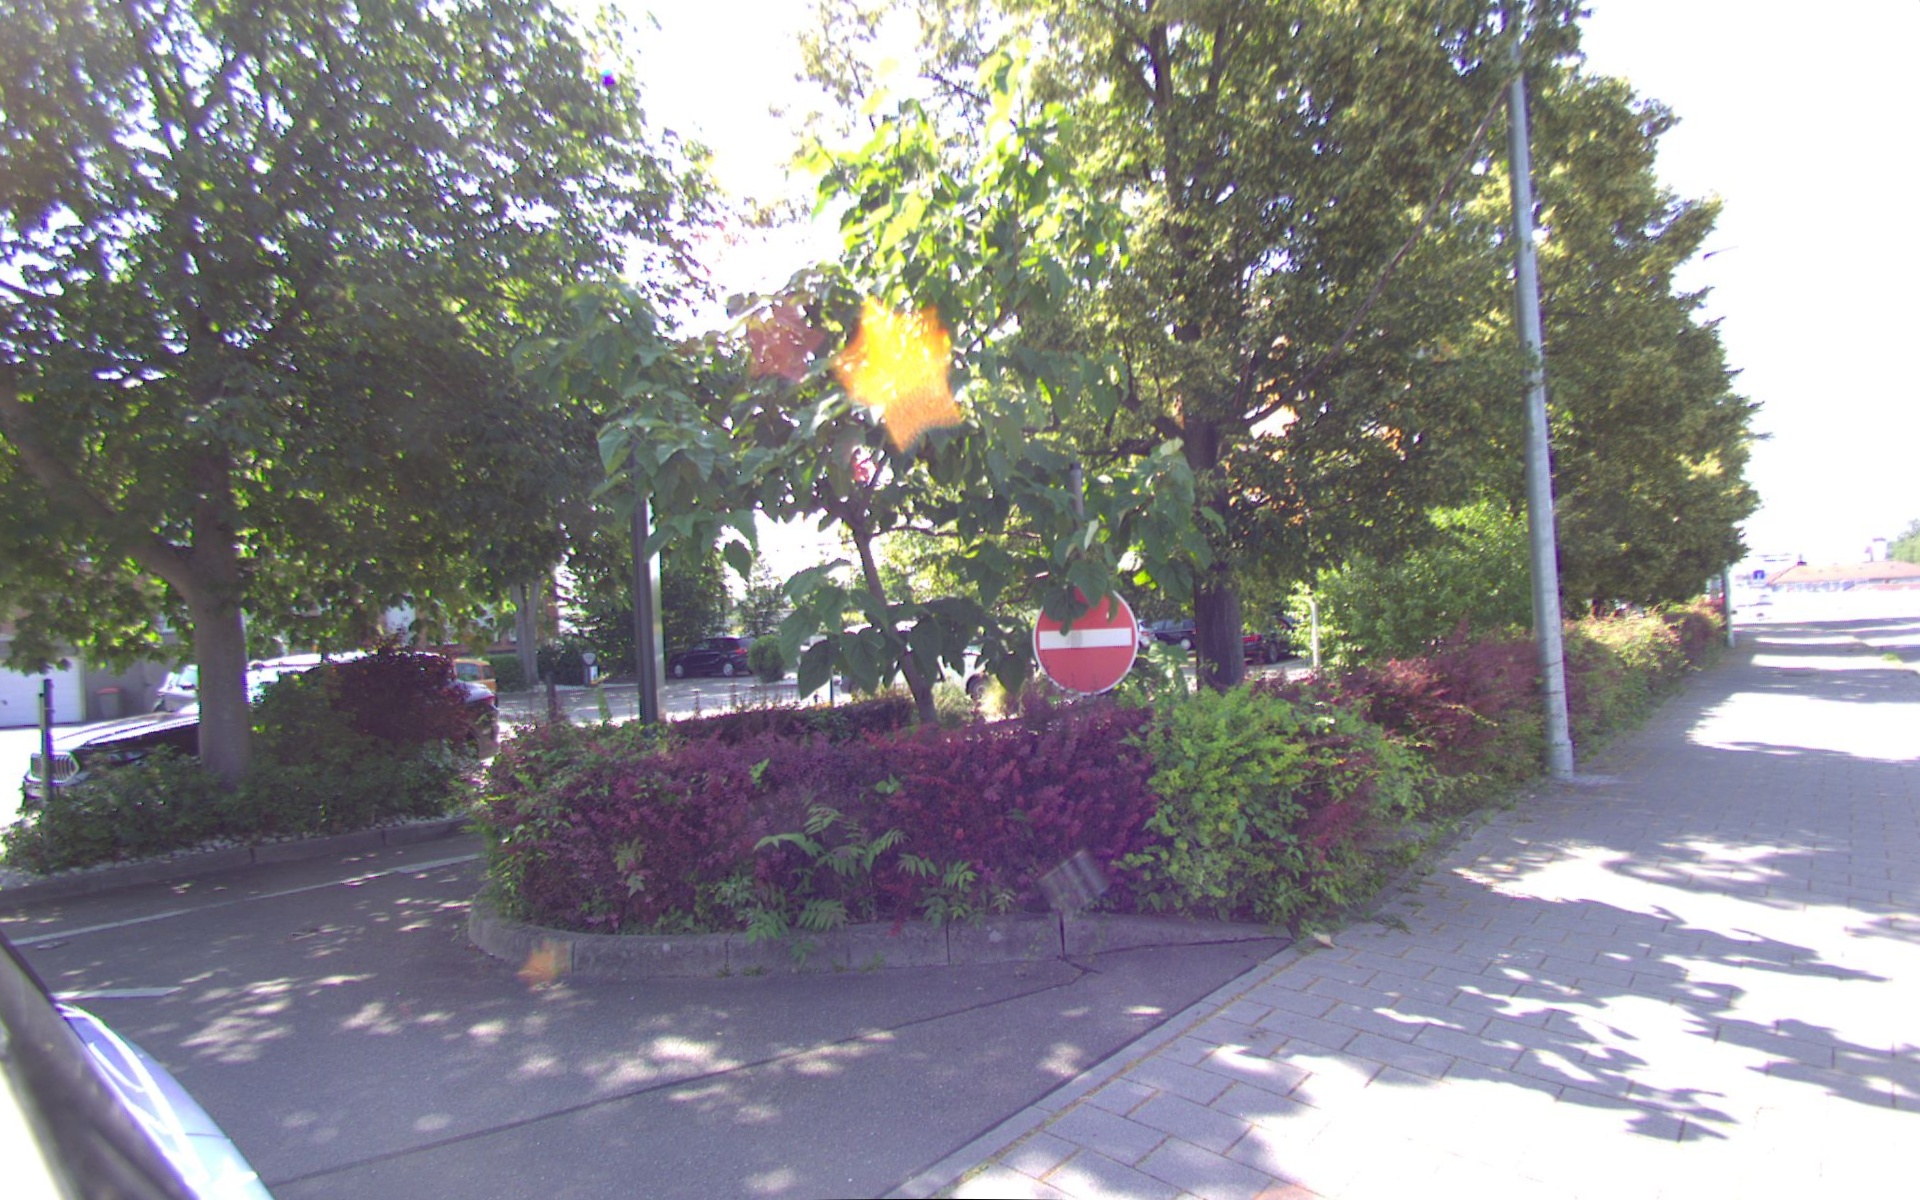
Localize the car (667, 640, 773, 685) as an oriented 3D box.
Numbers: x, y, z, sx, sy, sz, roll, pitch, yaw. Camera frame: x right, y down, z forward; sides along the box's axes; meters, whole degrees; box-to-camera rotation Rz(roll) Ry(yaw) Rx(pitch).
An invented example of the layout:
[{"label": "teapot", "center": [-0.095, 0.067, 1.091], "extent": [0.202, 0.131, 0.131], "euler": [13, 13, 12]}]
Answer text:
[{"label": "car", "center": [-9.515, 2.464, 40.047], "extent": [3.851, 1.588, 1.802], "euler": [-4, -2, 28]}]

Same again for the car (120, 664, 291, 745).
[{"label": "car", "center": [-16.376, 2.256, 21.955], "extent": [3.596, 1.543, 1.605], "euler": [-4, -2, 28]}]

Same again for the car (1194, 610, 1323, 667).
[{"label": "car", "center": [9.680, 1.217, 32.561], "extent": [2.073, 1.572, 4.962], "euler": [-5, -3, 40]}]

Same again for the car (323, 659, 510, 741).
[{"label": "car", "center": [-13.039, 2.369, 24.501], "extent": [1.661, 1.644, 3.689], "euler": [-3, -2, 27]}]

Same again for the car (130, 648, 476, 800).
[{"label": "car", "center": [-9.604, 1.729, 15.242], "extent": [1.745, 1.812, 4.203], "euler": [-3, -2, 18]}]

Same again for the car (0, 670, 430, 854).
[{"label": "car", "center": [-8.307, 1.683, 11.526], "extent": [1.643, 1.505, 3.975], "euler": [-4, -2, 18]}]

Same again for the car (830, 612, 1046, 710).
[{"label": "car", "center": [-0.486, 1.336, 22.119], "extent": [4.324, 1.841, 1.736], "euler": [-4, -1, 22]}]

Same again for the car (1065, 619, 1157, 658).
[{"label": "car", "center": [6.918, 1.769, 46.507], "extent": [3.829, 1.600, 1.629], "euler": [-3, -2, 26]}]
